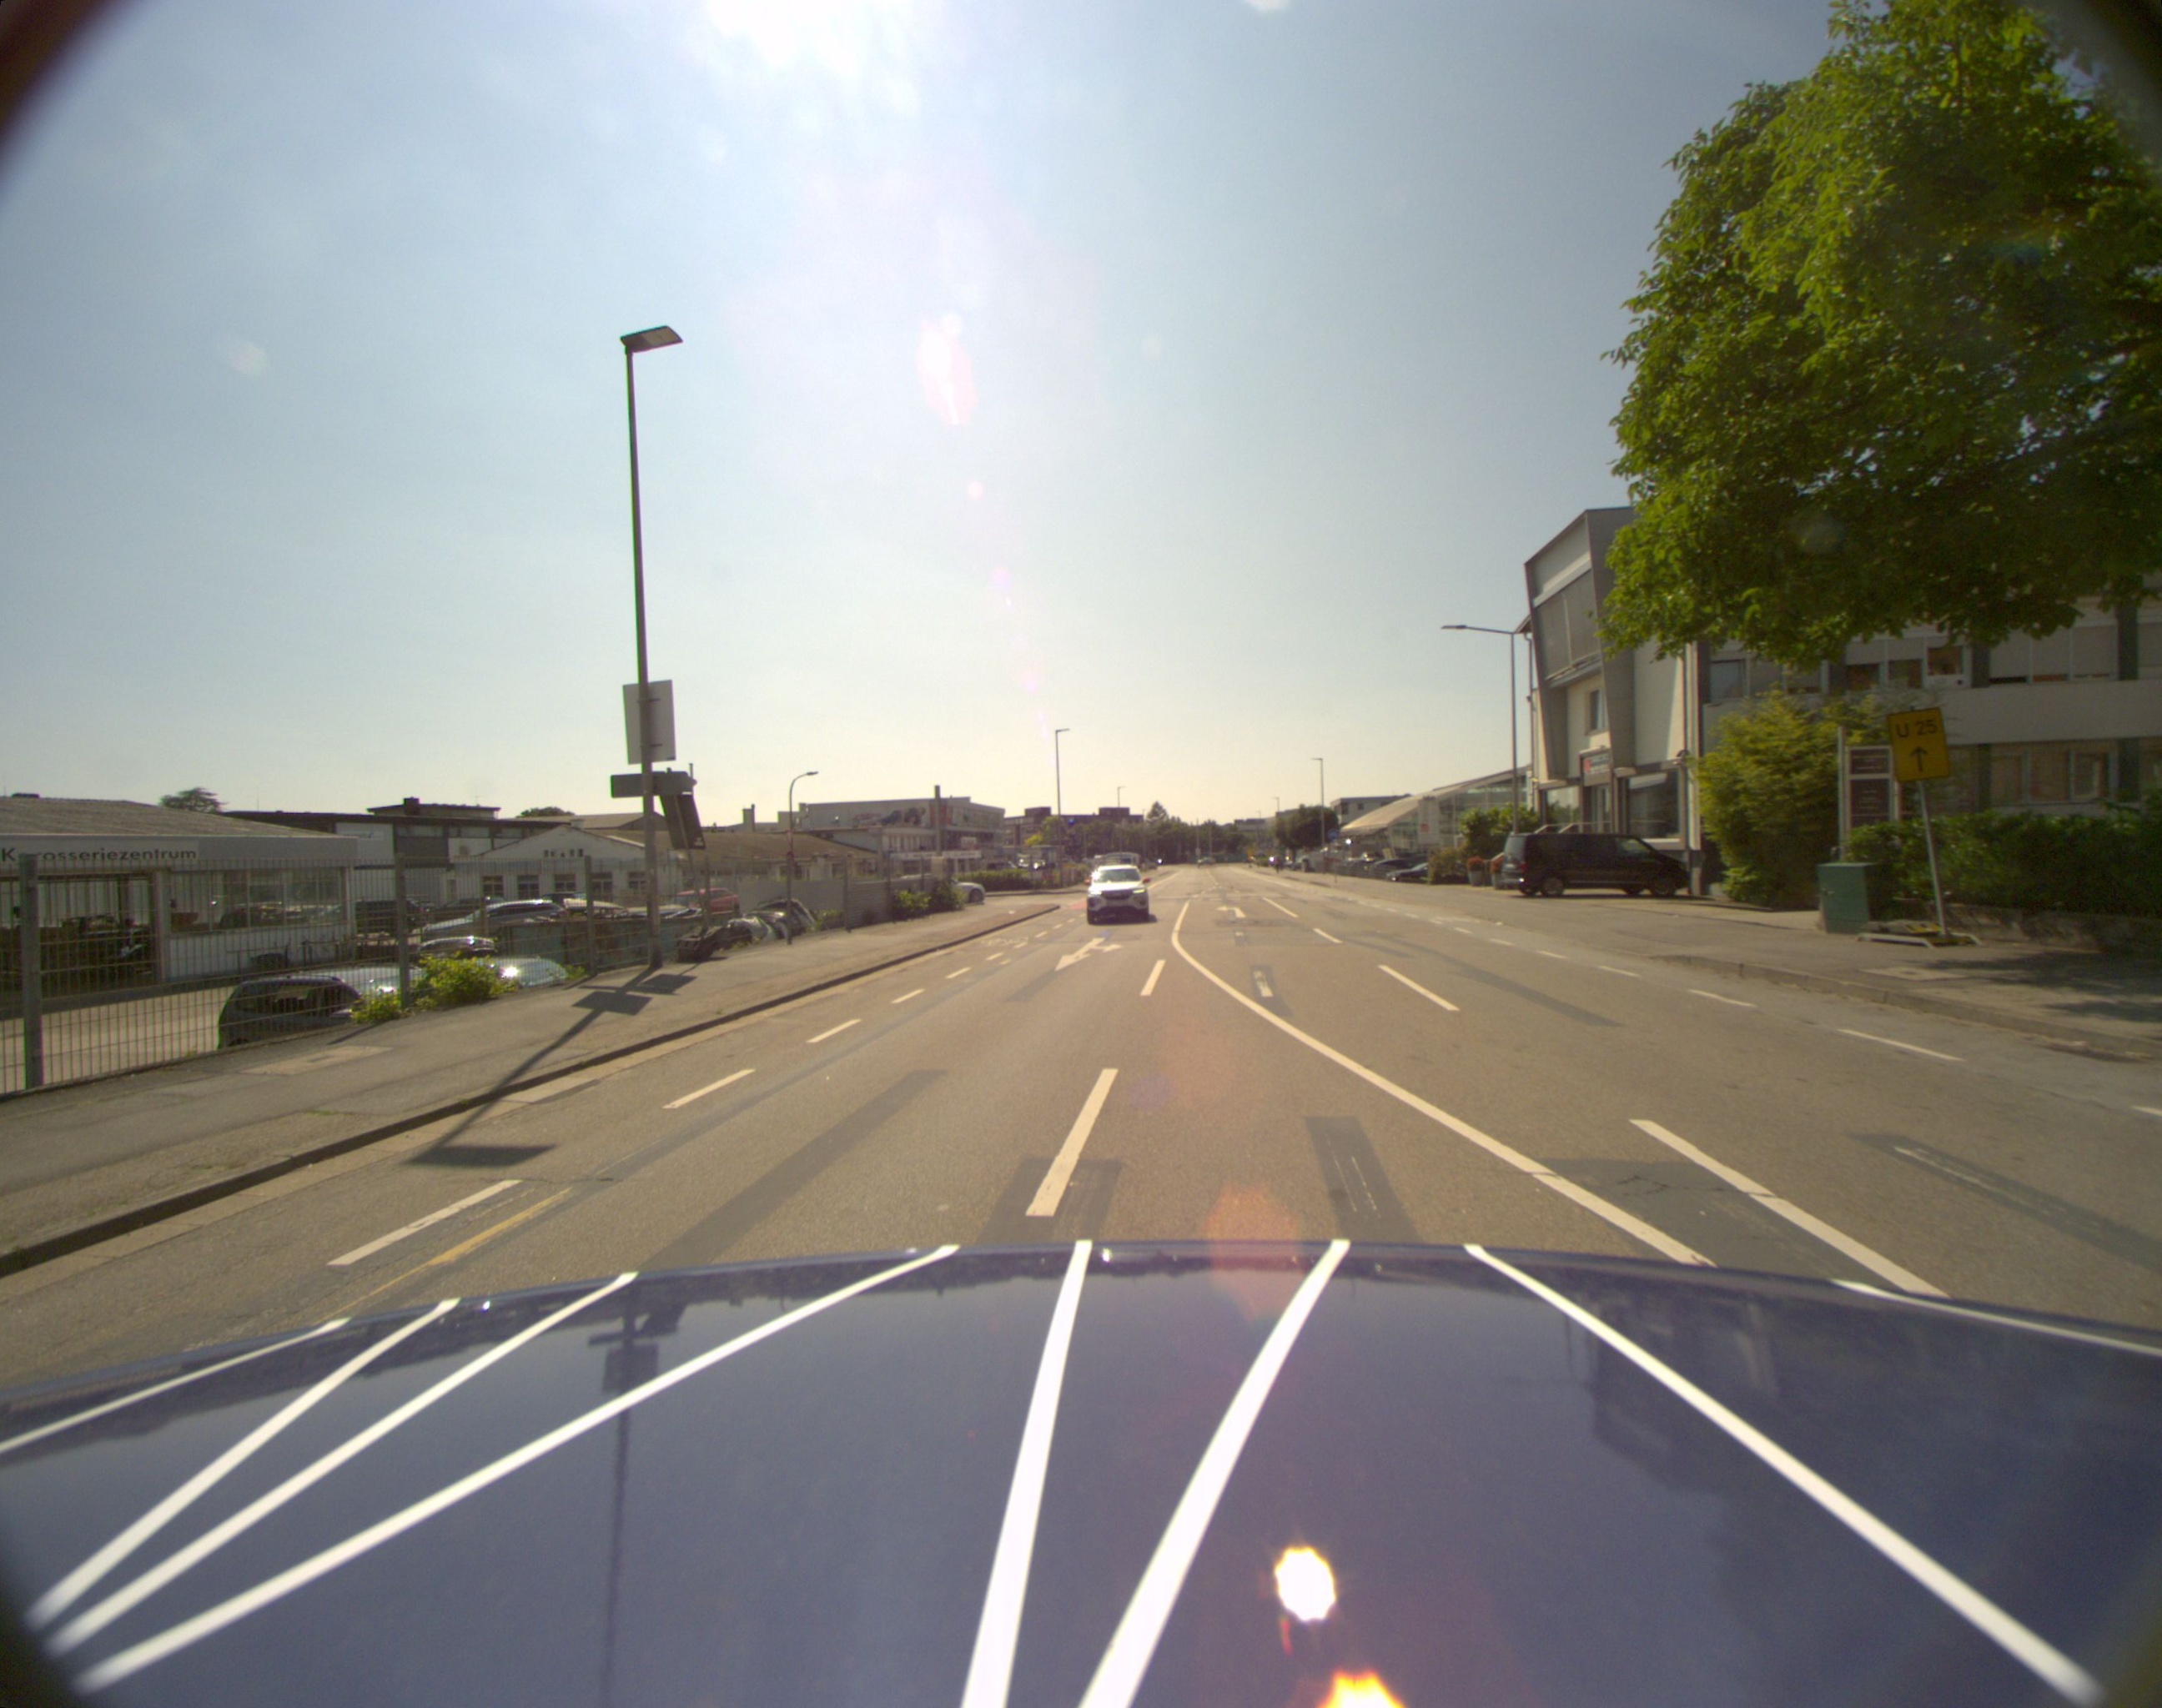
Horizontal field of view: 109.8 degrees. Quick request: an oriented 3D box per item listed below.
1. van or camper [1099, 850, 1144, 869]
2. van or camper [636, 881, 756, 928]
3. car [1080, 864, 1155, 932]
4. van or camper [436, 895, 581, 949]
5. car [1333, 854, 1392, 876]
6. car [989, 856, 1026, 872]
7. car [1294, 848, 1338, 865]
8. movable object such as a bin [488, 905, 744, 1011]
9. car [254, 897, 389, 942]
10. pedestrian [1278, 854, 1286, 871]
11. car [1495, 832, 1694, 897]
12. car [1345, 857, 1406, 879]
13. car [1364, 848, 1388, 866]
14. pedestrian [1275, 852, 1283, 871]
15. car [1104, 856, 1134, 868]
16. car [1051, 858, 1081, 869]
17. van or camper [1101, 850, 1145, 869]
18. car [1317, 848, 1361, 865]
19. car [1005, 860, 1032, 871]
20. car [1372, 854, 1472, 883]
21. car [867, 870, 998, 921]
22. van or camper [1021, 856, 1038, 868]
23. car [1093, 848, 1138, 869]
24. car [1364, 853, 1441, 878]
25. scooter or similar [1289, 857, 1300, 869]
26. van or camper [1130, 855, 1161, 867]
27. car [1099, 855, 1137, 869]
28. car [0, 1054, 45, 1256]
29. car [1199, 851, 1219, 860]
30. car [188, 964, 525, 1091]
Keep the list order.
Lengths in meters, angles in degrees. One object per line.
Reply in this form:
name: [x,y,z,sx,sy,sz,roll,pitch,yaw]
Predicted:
van or camper: [6.102,0.877,114.328,6.360,2.684,2.714,-2,0,9]
van or camper: [-14.975,1.920,29.855,1.998,1.343,4.232,-8,-1,8]
car: [1.076,1.101,20.423,1.726,1.476,3.678,-4,0,6]
van or camper: [-23.182,2.683,30.913,1.994,1.535,4.236,4,4,36]
car: [22.381,0.841,60.569,3.994,1.435,1.860,4,1,6]
car: [-11.521,1.596,118.891,5.308,2.404,2.327,-2,0,4]
car: [26.111,0.235,84.480,4.586,1.686,1.855,-2,0,-26]
movable object such as a bin: [-11.244,2.489,18.537,5.125,2.002,2.001,-5,0,9]
car: [-32.396,2.756,32.497,1.790,1.455,3.831,-4,0,38]
pedestrian: [22.180,0.968,83.885,0.724,1.837,0.912,-1,0,5]
car: [15.494,0.313,23.189,4.574,1.854,2.094,-1,0,10]
car: [22.342,1.034,57.790,3.995,1.482,1.859,-1,2,5]
car: [29.739,0.317,76.688,1.996,1.674,4.005,-2,0,18]
pedestrian: [20.516,0.776,78.618,0.733,1.856,1.048,-1,0,14]
car: [5.349,1.090,106.000,3.929,1.584,1.799,-2,0,9]
car: [-2.421,1.479,123.758,4.547,1.668,2.001,-2,0,5]
van or camper: [6.476,0.893,117.116,6.360,2.700,2.714,-2,0,9]
car: [26.435,0.240,77.826,4.004,1.541,1.856,-2,0,-22]
car: [-10.178,1.934,124.537,4.114,1.722,2.001,-2,0,5]
car: [19.214,0.805,43.024,4.748,1.472,2.049,-2,0,8]
car: [-5.436,1.498,28.359,1.953,1.350,4.504,-6,0,39]
van or camper: [-8.771,1.305,129.981,2.122,2.002,5.116,-2,0,4]
car: [5.067,0.698,111.469,6.239,2.852,2.322,-2,0,10]
car: [21.439,0.743,50.816,4.305,1.549,1.996,-2,0,5]
scooter or similar: [23.198,1.002,82.630,0.745,1.240,1.491,-2,0,1]
van or camper: [11.731,1.258,137.784,5.142,1.950,1.983,-1,1,-21]
car: [5.357,1.148,108.760,5.243,1.940,2.001,-1,0,9]
car: [-13.264,3.294,7.406,3.995,2.002,2.001,-4,0,8]
car: [30.455,0.346,180.531,3.990,1.696,2.003,-5,0,31]
car: [-12.123,2.879,12.880,3.995,1.641,2.001,-3,0,8]
